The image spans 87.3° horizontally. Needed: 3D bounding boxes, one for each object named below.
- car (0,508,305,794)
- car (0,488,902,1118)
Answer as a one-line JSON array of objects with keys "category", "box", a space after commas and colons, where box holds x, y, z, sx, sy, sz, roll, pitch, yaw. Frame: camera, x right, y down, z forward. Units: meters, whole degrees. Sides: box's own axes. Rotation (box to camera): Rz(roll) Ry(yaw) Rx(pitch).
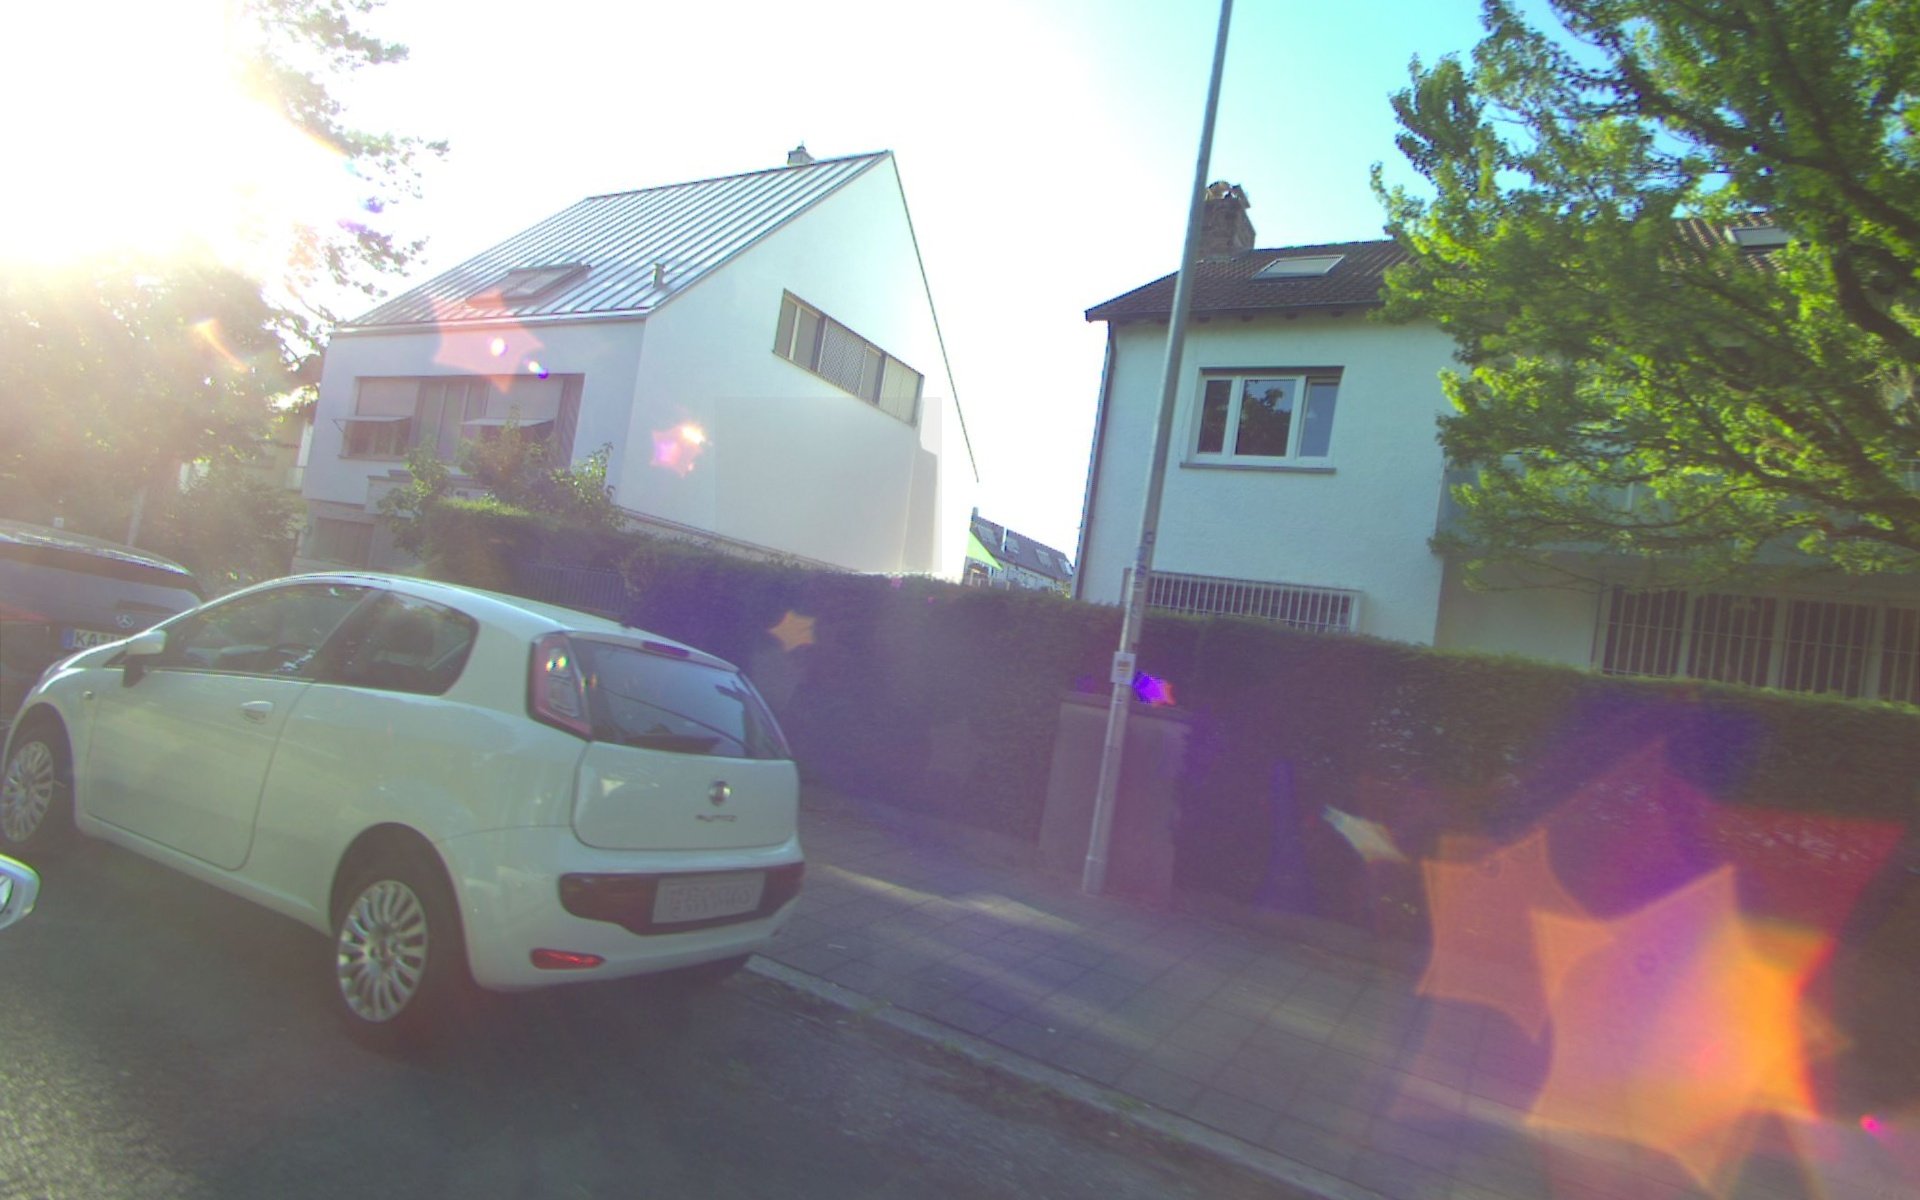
[{"category": "car", "box": [-6.630, 0.133, 6.765, 4.214, 1.491, 1.757, 7, -5, 29]}, {"category": "car", "box": [-2.443, 0.605, 4.407, 3.860, 1.495, 1.701, 7, -7, 27]}]
